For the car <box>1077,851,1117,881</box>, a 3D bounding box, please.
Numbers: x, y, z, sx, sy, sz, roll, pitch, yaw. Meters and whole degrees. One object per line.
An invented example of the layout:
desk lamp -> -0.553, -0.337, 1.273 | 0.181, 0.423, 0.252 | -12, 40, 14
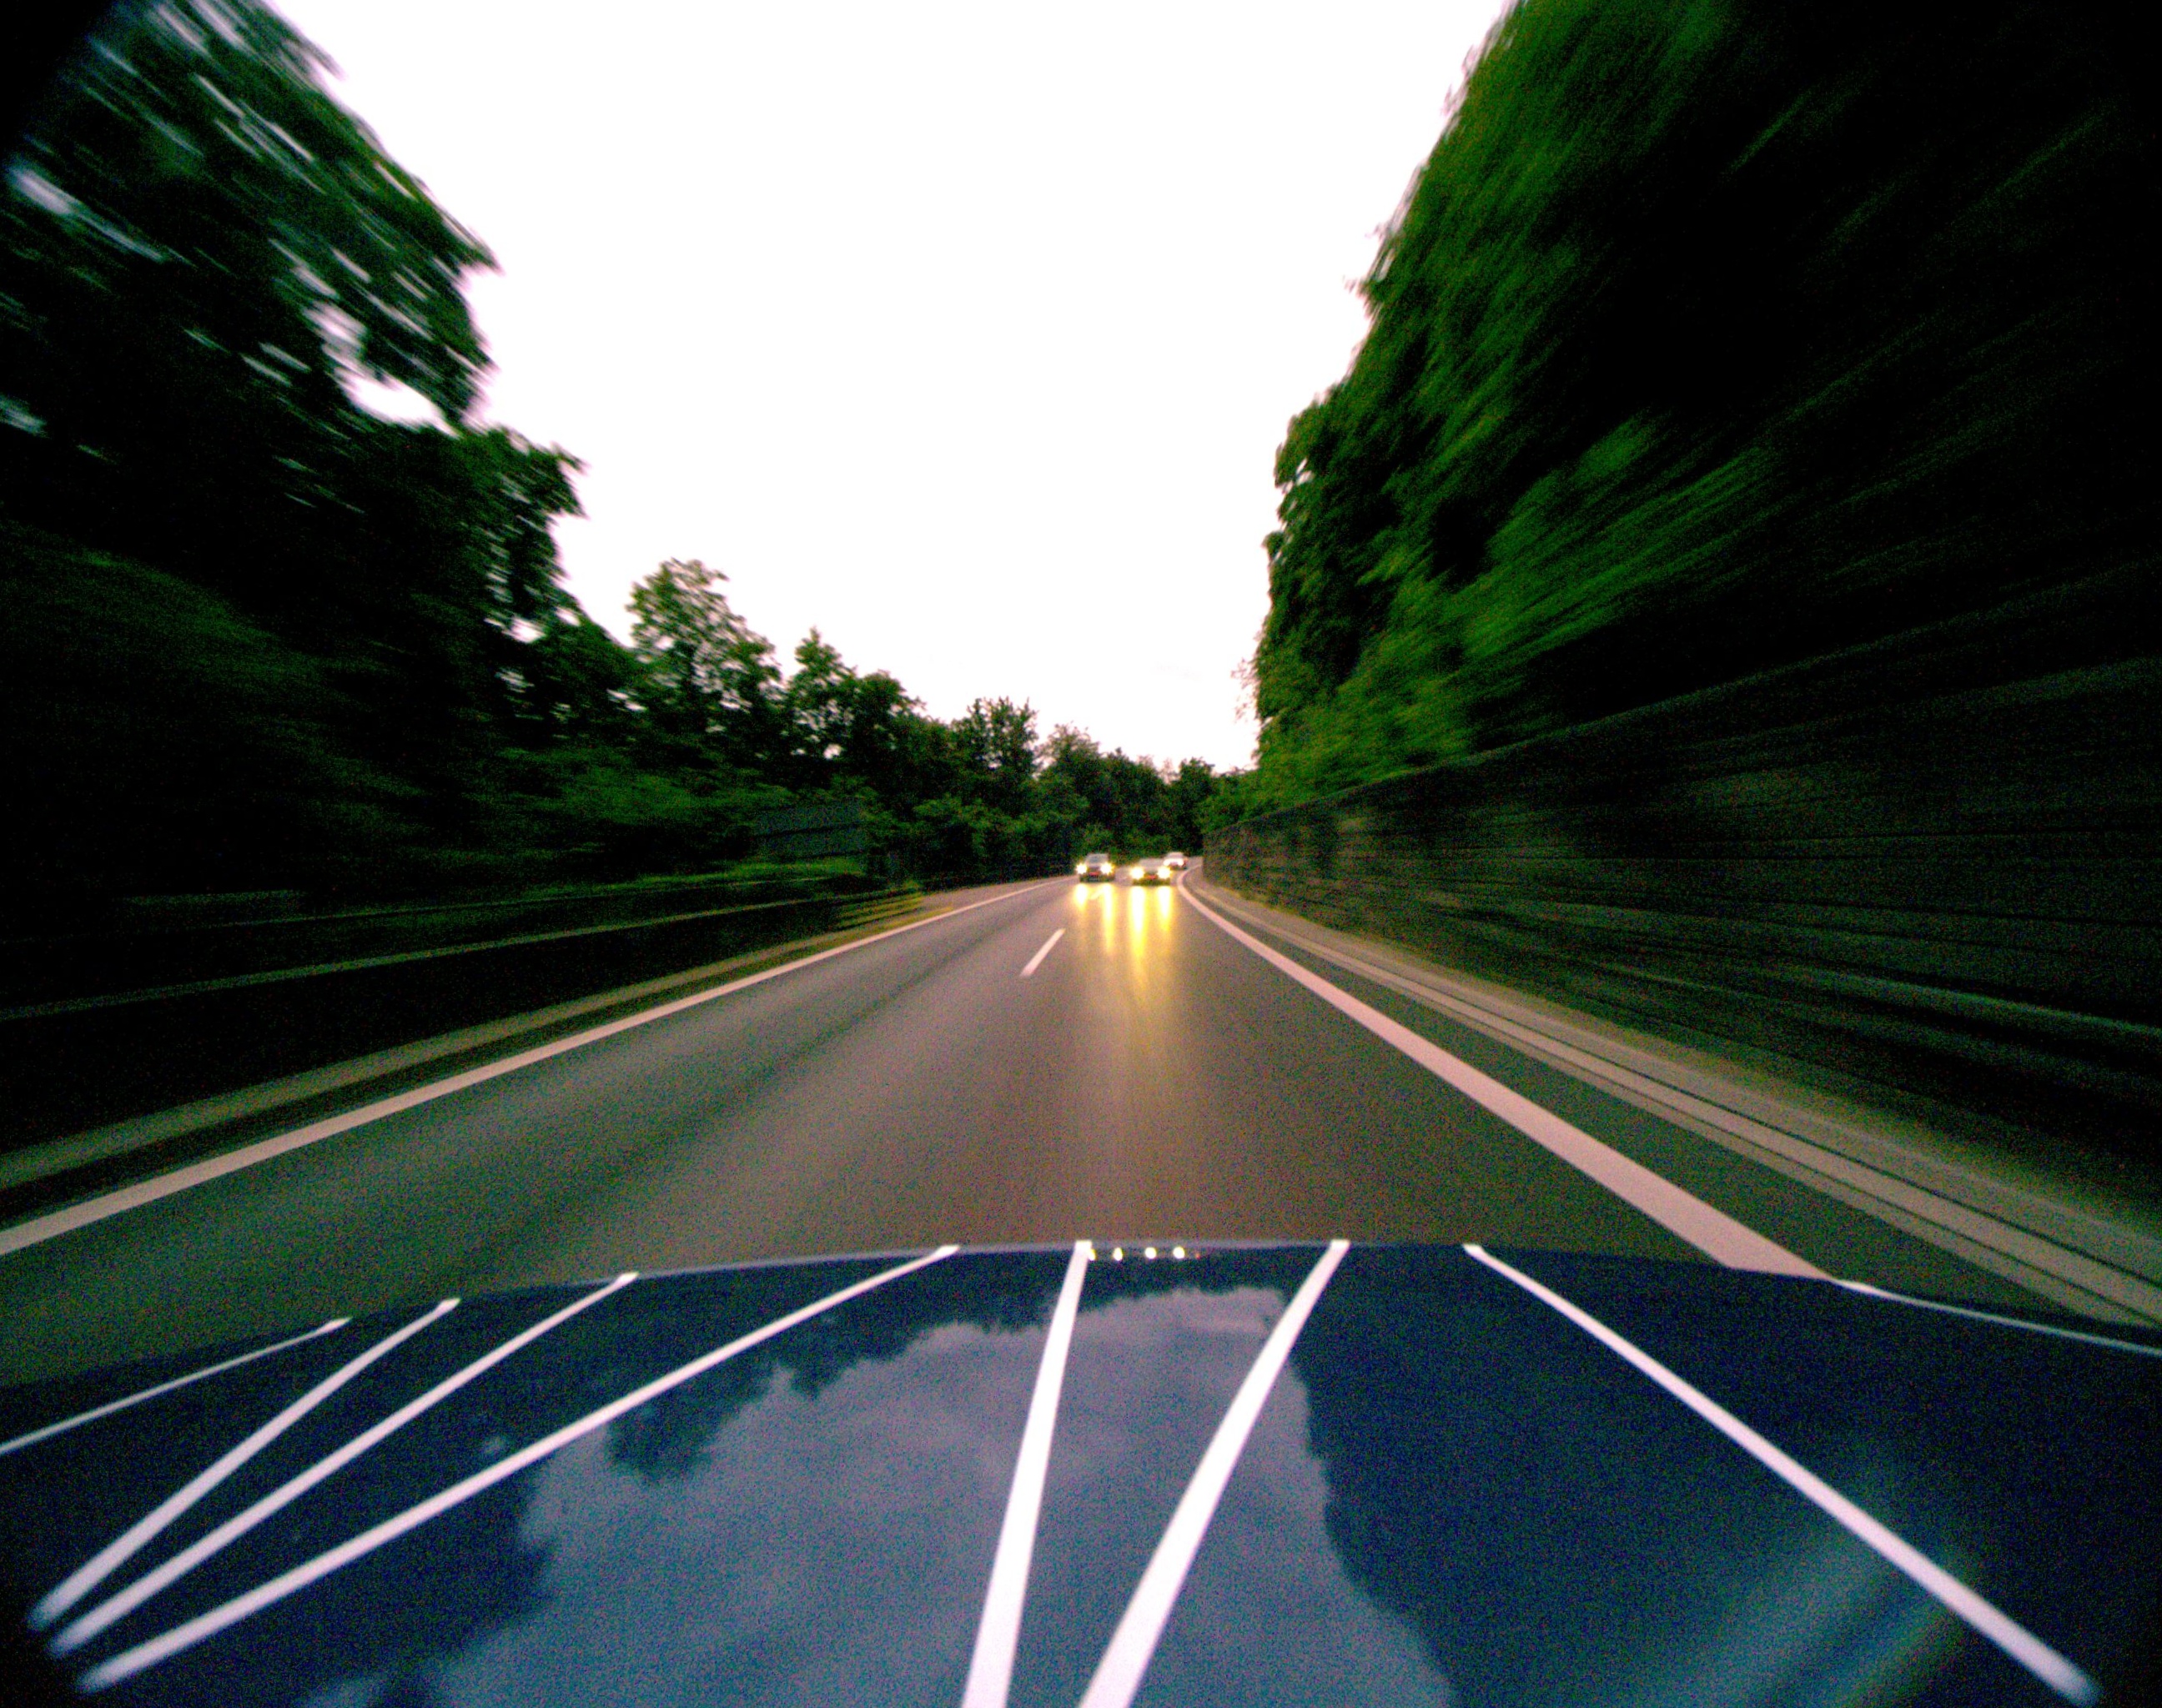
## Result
car -> 1.010, 0.694, 45.677 | 1.997, 1.631, 4.001 | 0, 1, 8

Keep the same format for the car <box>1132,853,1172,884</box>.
car -> 3.805, 0.734, 40.395 | 1.997, 1.499, 4.002 | -1, 0, 6

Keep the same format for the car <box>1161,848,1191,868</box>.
car -> 8.328, 0.299, 66.540 | 1.996, 1.499, 4.003 | -3, 1, 15
